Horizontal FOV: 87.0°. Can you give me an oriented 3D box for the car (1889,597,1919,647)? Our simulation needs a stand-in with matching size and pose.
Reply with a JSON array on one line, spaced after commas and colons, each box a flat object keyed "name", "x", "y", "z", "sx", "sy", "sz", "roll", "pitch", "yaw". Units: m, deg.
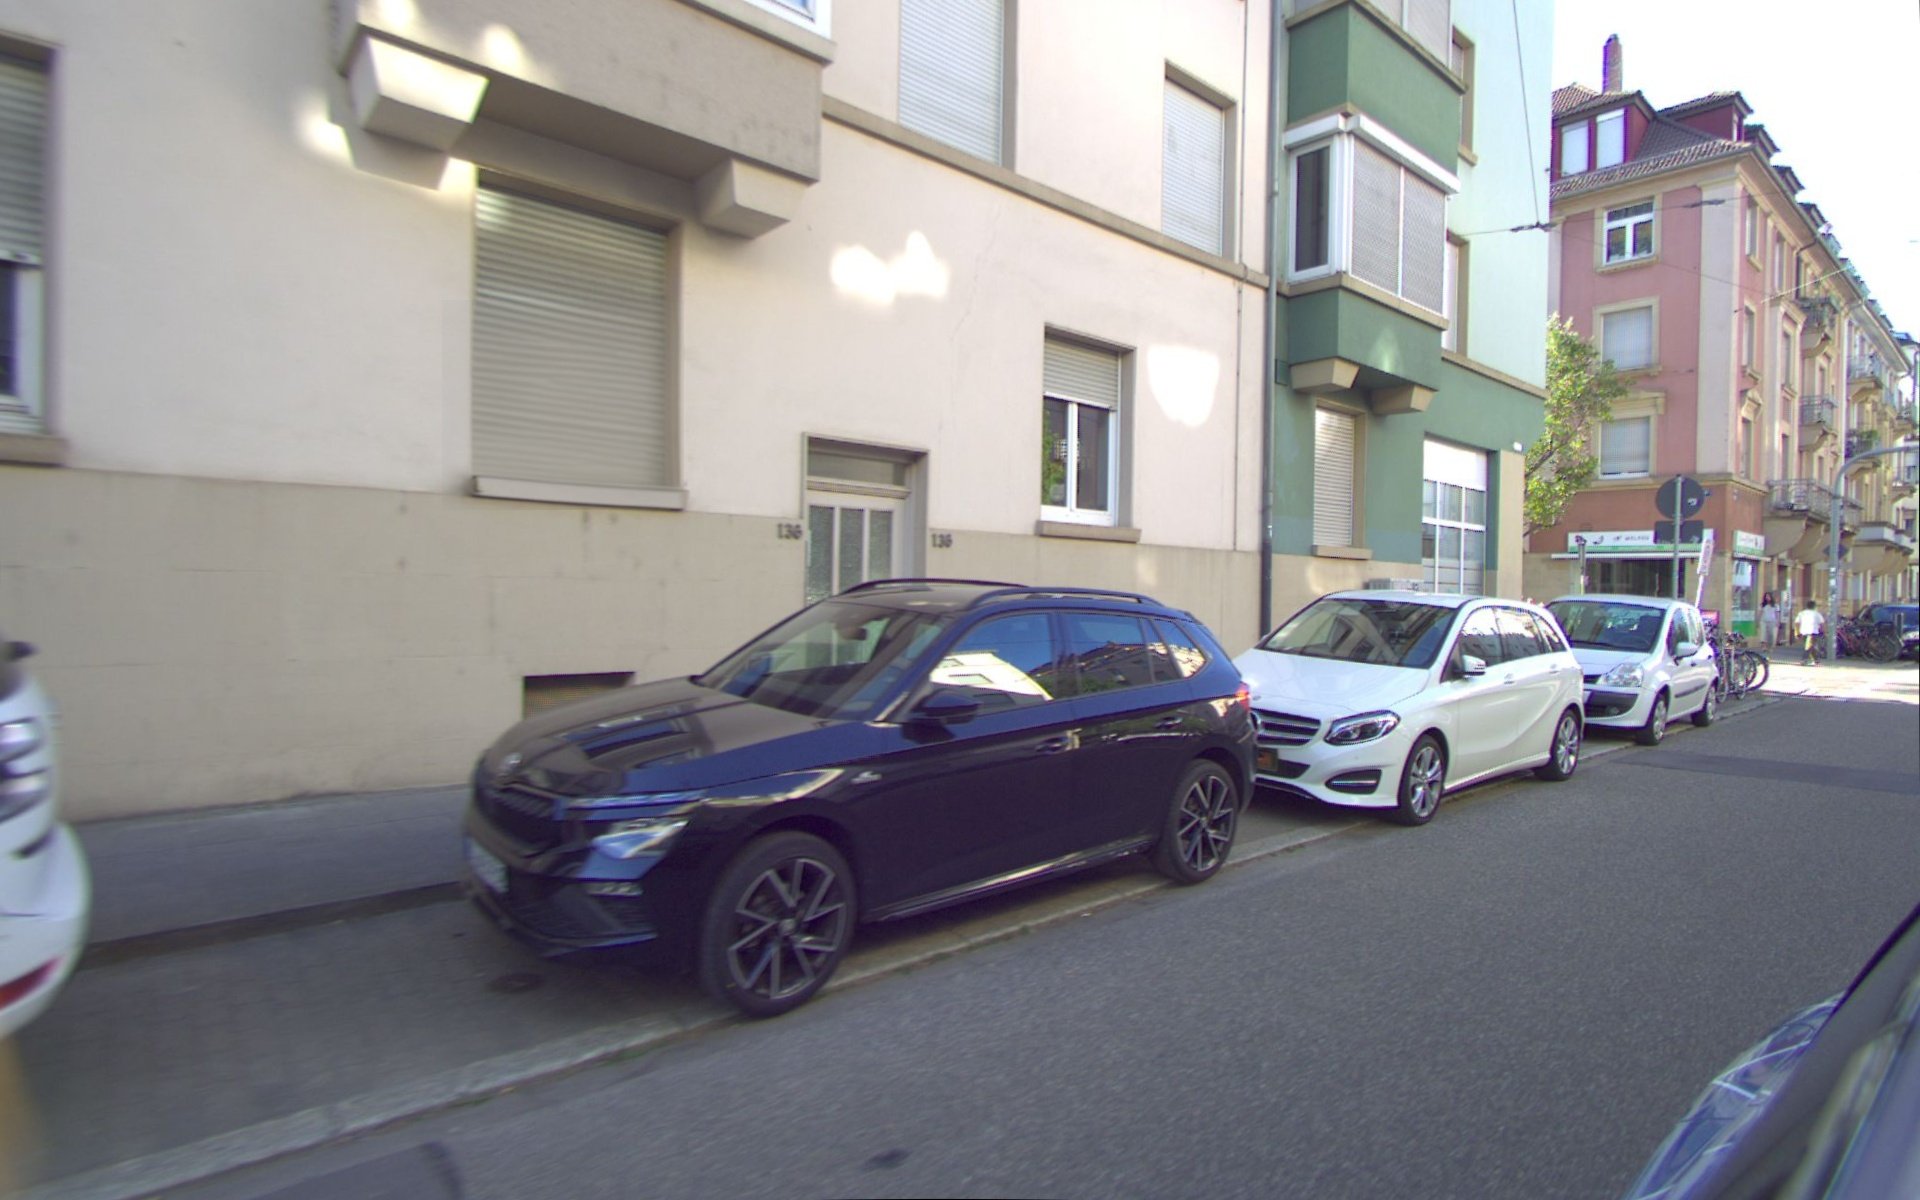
[{"name": "car", "x": 32.800, "y": 0.728, "z": 34.069, "sx": 3.663, "sy": 1.614, "sz": 1.757, "roll": 0, "pitch": 1, "yaw": -40}]

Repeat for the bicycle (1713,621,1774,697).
[{"name": "bicycle", "x": 11.790, "y": 0.863, "z": 15.217, "sx": 1.697, "sy": 1.058, "sz": 0.353, "roll": 1, "pitch": 0, "yaw": -40}]

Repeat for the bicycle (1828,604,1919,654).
[{"name": "bicycle", "x": 25.345, "y": 0.783, "z": 27.979, "sx": 0.518, "sy": 1.242, "sz": 1.963, "roll": 1, "pitch": 2, "yaw": -40}]

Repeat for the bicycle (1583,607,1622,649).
[{"name": "bicycle", "x": 18.403, "y": 0.787, "z": 28.984, "sx": 1.698, "sy": 1.169, "sz": 0.468, "roll": 1, "pitch": 0, "yaw": -42}]

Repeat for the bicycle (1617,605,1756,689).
[{"name": "bicycle", "x": 11.907, "y": 0.743, "z": 16.648, "sx": 0.461, "sy": 1.168, "sz": 1.727, "roll": 1, "pitch": 4, "yaw": -40}]

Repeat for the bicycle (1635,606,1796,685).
[{"name": "bicycle", "x": 13.311, "y": 0.760, "z": 17.896, "sx": 0.833, "sy": 1.168, "sz": 2.092, "roll": 1, "pitch": 3, "yaw": -40}]

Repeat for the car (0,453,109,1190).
[{"name": "car", "x": -4.329, "y": 0.514, "z": 1.534, "sx": 1.655, "sy": 1.774, "sz": 4.529, "roll": 2, "pitch": 1, "yaw": 44}]

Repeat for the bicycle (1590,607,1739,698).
[{"name": "bicycle", "x": 10.633, "y": 0.756, "z": 15.339, "sx": 0.461, "sy": 1.168, "sz": 1.727, "roll": 1, "pitch": 4, "yaw": -40}]

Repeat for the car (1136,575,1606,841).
[{"name": "car", "x": 3.497, "y": 0.639, "z": 8.196, "sx": 4.250, "sy": 1.595, "sz": 1.787, "roll": 0, "pitch": 1, "yaw": -41}]

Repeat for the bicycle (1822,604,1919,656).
[{"name": "bicycle", "x": 24.527, "y": 0.784, "z": 27.223, "sx": 0.518, "sy": 1.242, "sz": 1.963, "roll": 1, "pitch": 2, "yaw": -40}]

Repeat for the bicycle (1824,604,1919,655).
[{"name": "bicycle", "x": 24.928, "y": 0.783, "z": 27.602, "sx": 0.518, "sy": 1.242, "sz": 1.963, "roll": 1, "pitch": 2, "yaw": -40}]

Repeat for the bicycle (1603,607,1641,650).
[{"name": "bicycle", "x": 18.721, "y": 0.795, "z": 28.600, "sx": 1.698, "sy": 1.169, "sz": 0.468, "roll": 1, "pitch": 0, "yaw": -42}]

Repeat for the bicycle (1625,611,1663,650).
[{"name": "bicycle", "x": 19.138, "y": 0.842, "z": 28.290, "sx": 1.698, "sy": 1.062, "sz": 0.468, "roll": 1, "pitch": 0, "yaw": -42}]

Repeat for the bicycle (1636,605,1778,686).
[{"name": "bicycle", "x": 12.829, "y": 0.754, "z": 17.440, "sx": 0.461, "sy": 1.168, "sz": 1.848, "roll": 1, "pitch": 4, "yaw": -40}]

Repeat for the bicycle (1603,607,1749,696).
[{"name": "bicycle", "x": 11.094, "y": 0.763, "z": 15.739, "sx": 0.461, "sy": 1.168, "sz": 1.727, "roll": 1, "pitch": 4, "yaw": -40}]

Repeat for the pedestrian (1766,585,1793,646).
[{"name": "pedestrian", "x": 23.174, "y": 0.441, "z": 28.618, "sx": 0.440, "sy": 1.708, "sz": 0.514, "roll": 1, "pitch": 0, "yaw": -41}]

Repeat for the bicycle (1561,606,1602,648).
[{"name": "bicycle", "x": 18.060, "y": 0.766, "z": 29.393, "sx": 1.698, "sy": 1.169, "sz": 0.544, "roll": 1, "pitch": 0, "yaw": -42}]

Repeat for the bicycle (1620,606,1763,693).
[{"name": "bicycle", "x": 11.630, "y": 0.756, "z": 16.140, "sx": 0.461, "sy": 1.168, "sz": 1.727, "roll": 1, "pitch": 4, "yaw": -40}]

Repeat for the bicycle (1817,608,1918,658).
[{"name": "bicycle", "x": 24.074, "y": 0.853, "z": 26.875, "sx": 0.518, "sy": 1.175, "sz": 1.927, "roll": 1, "pitch": 2, "yaw": -40}]

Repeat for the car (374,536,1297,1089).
[{"name": "car", "x": -0.260, "y": 0.592, "z": 4.931, "sx": 4.262, "sy": 1.586, "sz": 1.658, "roll": 0, "pitch": 1, "yaw": -41}]

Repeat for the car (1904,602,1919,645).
[{"name": "car", "x": 36.166, "y": 0.847, "z": 37.233, "sx": 4.396, "sy": 1.532, "sz": 1.657, "roll": 0, "pitch": 1, "yaw": -41}]

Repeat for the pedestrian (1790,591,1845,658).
[{"name": "pedestrian", "x": 21.616, "y": 0.611, "z": 25.518, "sx": 0.689, "sy": 1.654, "sz": 0.733, "roll": -1, "pitch": -1, "yaw": -9}]

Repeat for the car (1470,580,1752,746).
[{"name": "car", "x": 7.872, "y": 0.622, "z": 12.109, "sx": 3.930, "sy": 1.652, "sz": 1.787, "roll": 0, "pitch": 1, "yaw": -41}]

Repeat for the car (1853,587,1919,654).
[{"name": "car", "x": 27.938, "y": 0.574, "z": 29.834, "sx": 4.427, "sy": 1.756, "sz": 1.757, "roll": 0, "pitch": 4, "yaw": -41}]
